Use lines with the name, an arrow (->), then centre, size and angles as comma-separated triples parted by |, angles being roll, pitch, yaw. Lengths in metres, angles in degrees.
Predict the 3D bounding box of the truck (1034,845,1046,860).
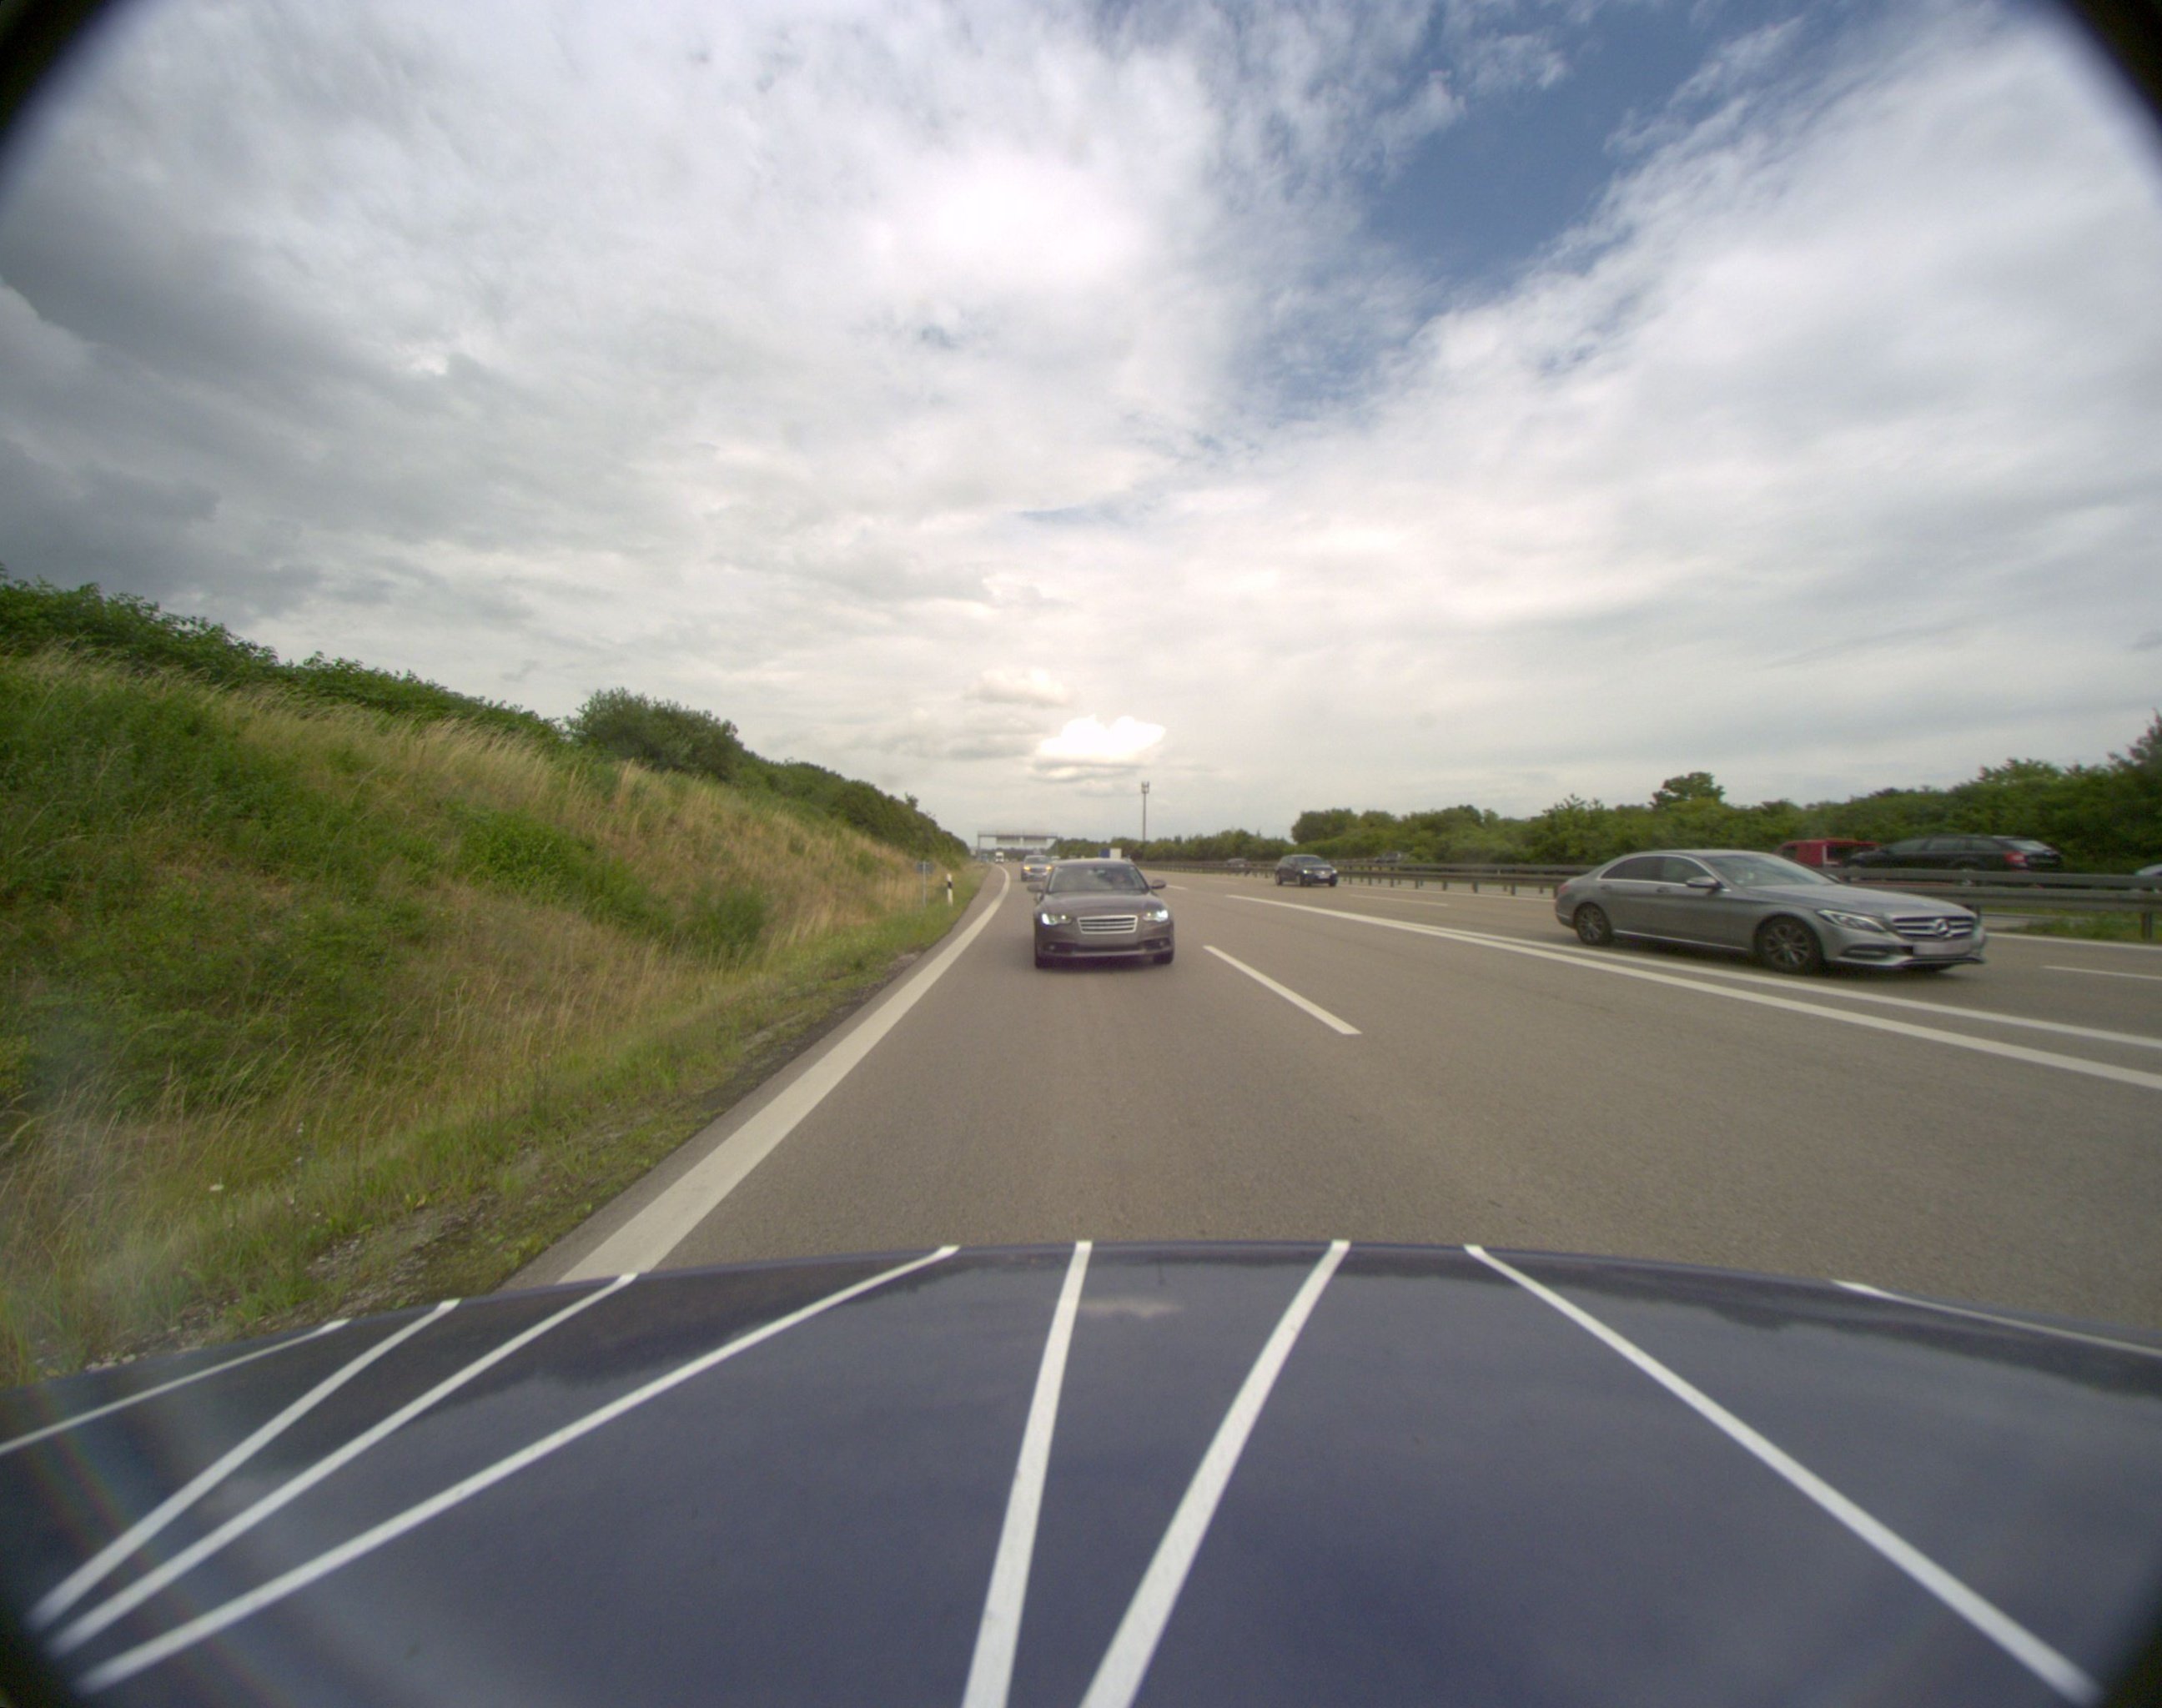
truck -> -9.840, -0.310, 181.045 | 2.474, 3.350, 7.923 | -1, -2, -4

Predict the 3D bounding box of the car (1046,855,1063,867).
car -> -3.635, 0.963, 103.141 | 1.839, 1.557, 4.494 | -1, 0, -8

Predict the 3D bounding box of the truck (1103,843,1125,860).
truck -> 7.434, -0.575, 172.985 | 3.168, 3.508, 9.971 | -2, 1, -8

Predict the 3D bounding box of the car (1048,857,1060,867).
car -> -4.618, 1.405, 131.118 | 1.882, 1.741, 4.485 | -1, 0, -5

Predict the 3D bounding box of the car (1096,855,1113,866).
car -> 3.134, 0.889, 103.711 | 1.727, 1.415, 4.795 | 0, 0, -5

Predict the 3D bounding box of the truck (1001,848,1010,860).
truck -> -21.115, 0.037, 212.231 | 2.449, 3.216, 7.187 | -1, 0, -6

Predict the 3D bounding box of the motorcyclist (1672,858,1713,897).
motorcyclist -> 19.960, 0.756, 24.816 | 0.659, 1.245, 0.823 | -2, 1, -5

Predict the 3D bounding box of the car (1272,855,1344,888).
car -> 10.430, 0.774, 35.193 | 1.785, 1.390, 4.304 | -1, 0, -4

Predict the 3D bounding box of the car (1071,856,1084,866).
car -> -0.730, 1.232, 141.879 | 1.999, 1.775, 5.409 | -1, 0, -5

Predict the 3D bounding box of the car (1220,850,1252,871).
car -> 14.892, 0.605, 73.407 | 1.999, 2.002, 3.998 | -1, 0, -4

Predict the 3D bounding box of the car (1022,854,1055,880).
car -> -2.748, 0.777, 48.337 | 1.999, 1.567, 3.998 | -1, 0, -5

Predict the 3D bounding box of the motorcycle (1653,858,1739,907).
motorcycle -> 19.977, 0.890, 24.757 | 0.659, 1.436, 2.394 | -2, 1, -5

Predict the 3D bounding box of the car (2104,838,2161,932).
car -> 25.494, 0.679, 15.647 | 2.169, 2.120, 4.872 | -1, 0, -6

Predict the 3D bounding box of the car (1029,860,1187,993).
car -> 0.229, 0.876, 11.056 | 1.849, 1.489, 4.027 | -2, 0, -3

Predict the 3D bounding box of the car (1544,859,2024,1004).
car -> 8.448, 0.781, 9.872 | 1.785, 1.390, 4.548 | -1, 0, -6

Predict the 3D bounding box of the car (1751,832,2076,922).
car -> 24.636, 0.595, 23.096 | 2.169, 2.317, 6.673 | -1, 0, -6
